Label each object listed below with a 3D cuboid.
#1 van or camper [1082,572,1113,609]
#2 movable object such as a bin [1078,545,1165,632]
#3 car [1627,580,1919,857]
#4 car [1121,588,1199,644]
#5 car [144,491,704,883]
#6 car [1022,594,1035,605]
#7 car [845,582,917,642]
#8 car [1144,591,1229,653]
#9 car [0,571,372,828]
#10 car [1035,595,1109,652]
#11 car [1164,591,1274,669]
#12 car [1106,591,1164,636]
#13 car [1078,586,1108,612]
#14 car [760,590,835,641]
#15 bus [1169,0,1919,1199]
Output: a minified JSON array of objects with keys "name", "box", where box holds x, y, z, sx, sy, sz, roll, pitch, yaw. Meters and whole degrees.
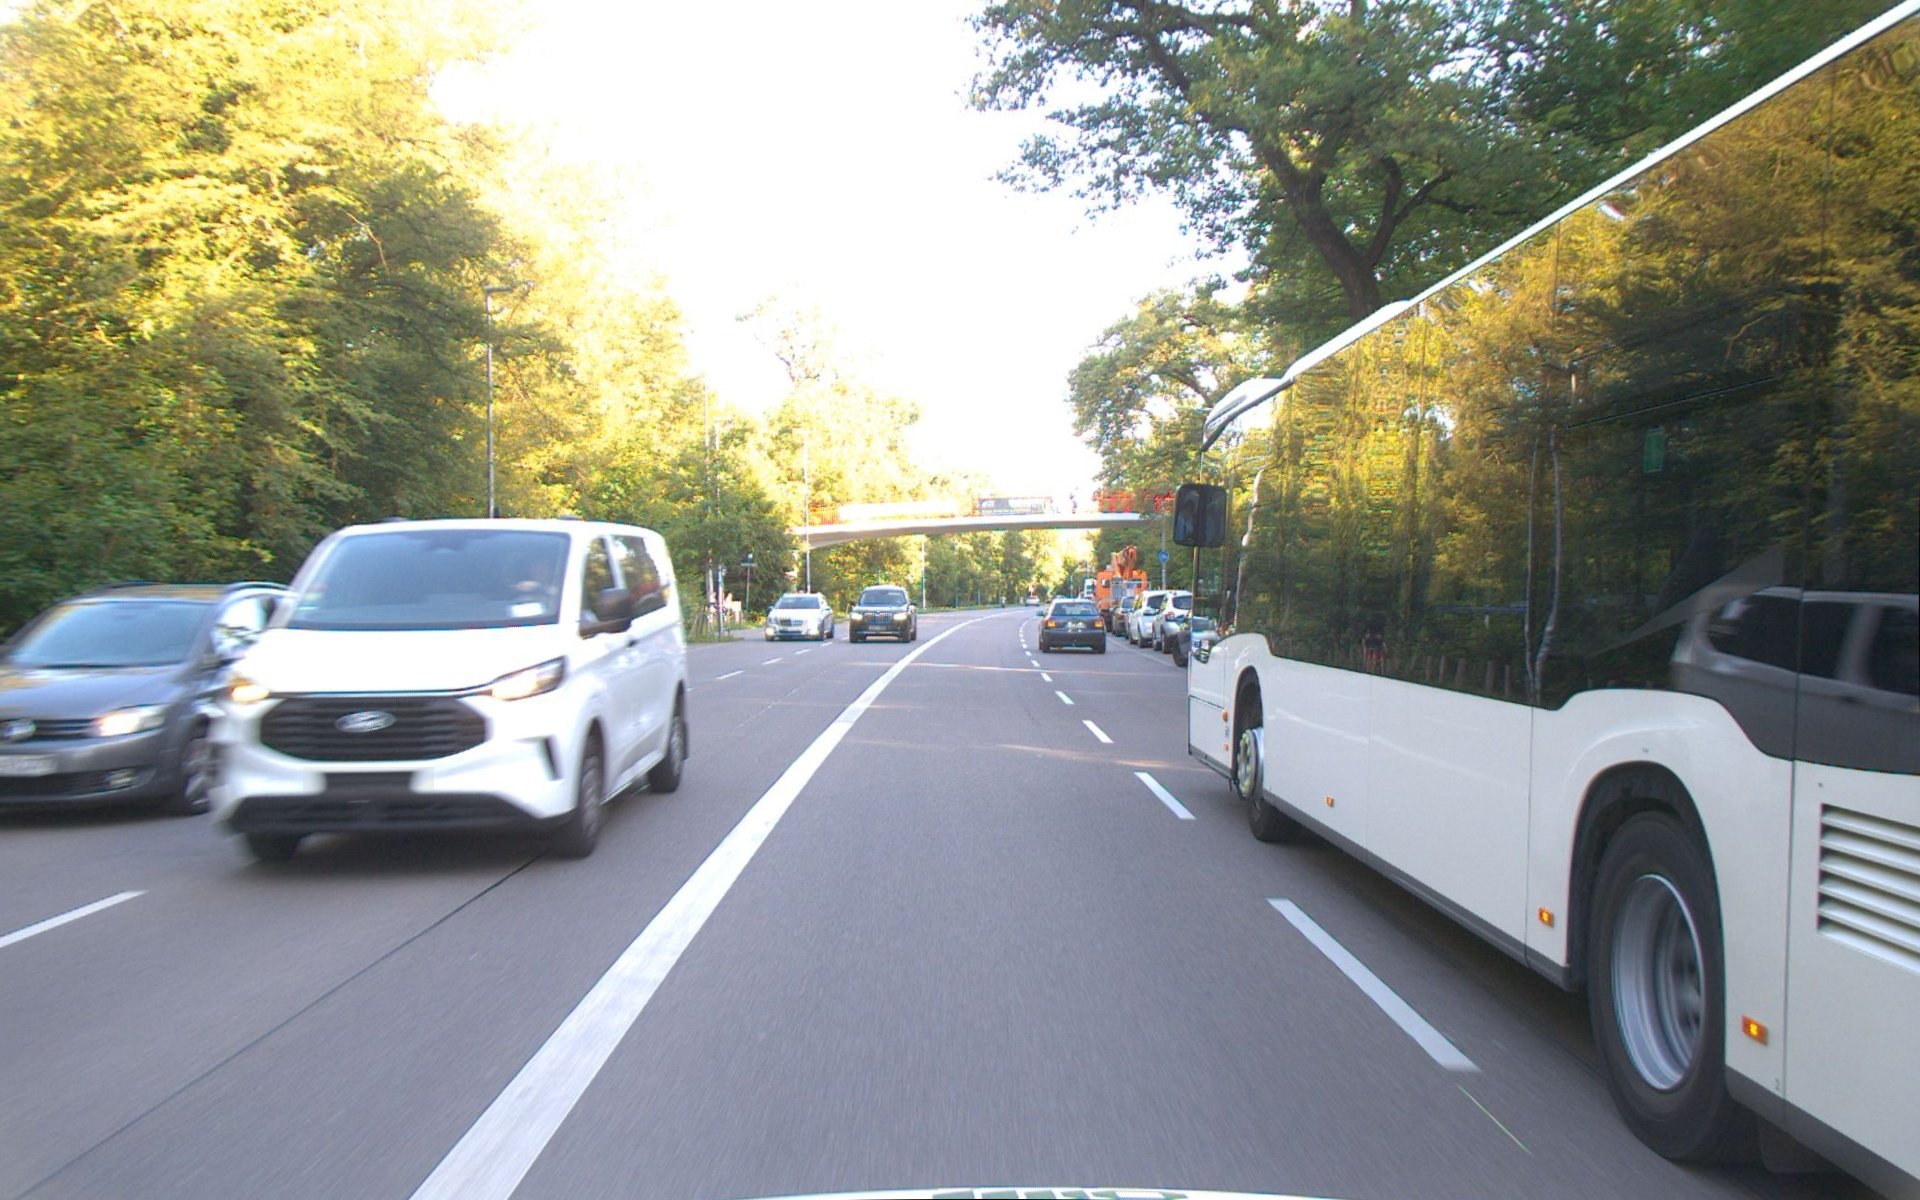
[{"name":"van or camper","box":[9.837,-0.657,119.025,2.074,2.561,5.983,-1,0,4]},{"name":"movable object such as a bin","box":[6.662,-0.488,69.161,2.703,3.429,7.598,-1,0,-1]},{"name":"car","box":[6.351,0.673,11.521,1.613,1.575,4.203,-2,0,-1]},{"name":"car","box":[5.983,0.454,49.958,1.800,1.601,4.459,0,0,0]},{"name":"car","box":[-3.115,0.433,10.914,2.161,1.995,4.912,0,0,-1]},{"name":"car","box":[9.678,-0.023,232.545,1.646,1.431,3.892,-3,0,4]},{"name":"car","box":[-2.398,0.346,51.346,1.878,1.734,4.443,-1,0,2]},{"name":"car","box":[6.036,0.560,44.478,1.692,1.569,4.089,0,0,0]},{"name":"car","box":[-6.021,0.629,12.543,1.764,1.627,3.999,-1,0,-1]},{"name":"car","box":[2.974,0.593,44.539,1.692,1.467,4.089,0,0,0]},{"name":"car","box":[5.460,0.588,35.316,1.692,1.551,4.089,-1,0,0]},{"name":"car","box":[6.405,0.471,60.912,1.692,1.601,4.089,0,0,0]},{"name":"car","box":[8.538,-0.090,105.877,1.686,1.522,3.778,-3,0,7]},{"name":"car","box":[-5.193,0.463,53.389,1.859,1.558,4.530,0,0,2]},{"name":"bus","box":[3.164,-0.127,7.418,2.649,3.278,12.275,0,0,-1]}]
